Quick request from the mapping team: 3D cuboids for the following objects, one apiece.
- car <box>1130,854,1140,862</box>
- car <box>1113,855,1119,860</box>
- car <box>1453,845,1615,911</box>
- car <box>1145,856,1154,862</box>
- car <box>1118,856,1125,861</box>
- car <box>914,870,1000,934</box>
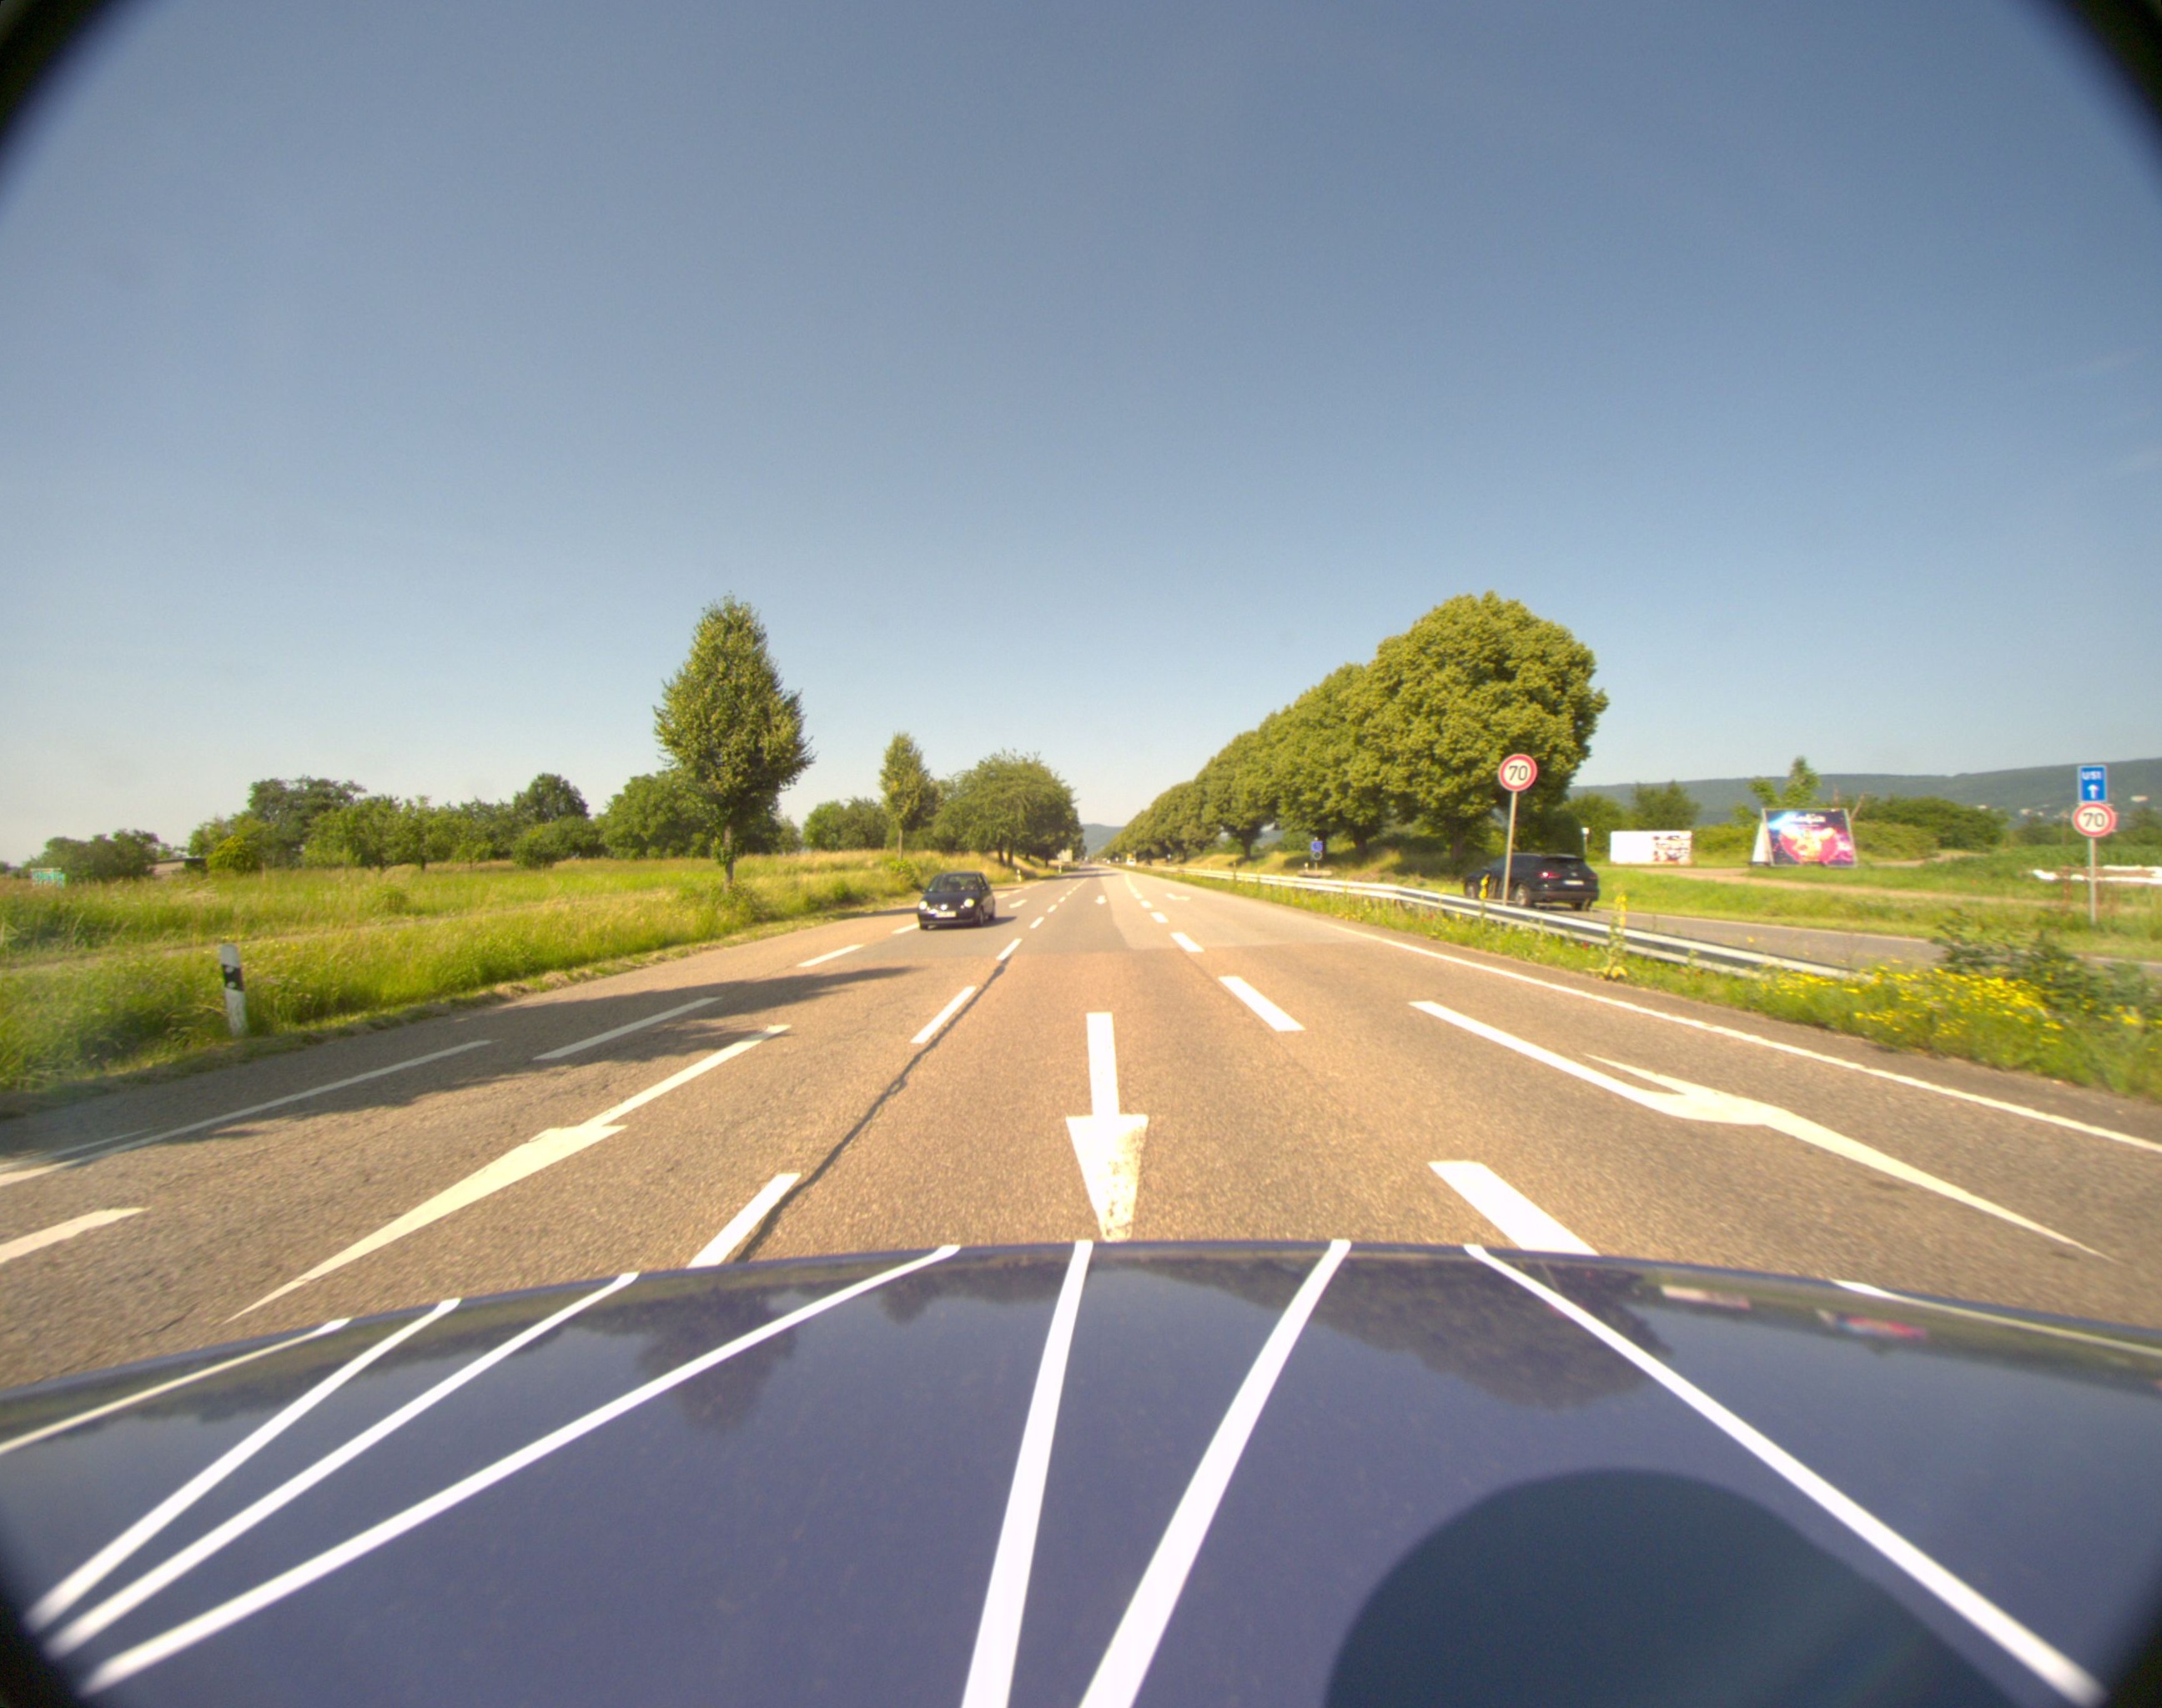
[{"bbox_3d":[11.488,0.825,161.608,1.998,1.791,4.000,-1,0,2],"label":"car"},{"bbox_3d":[12.384,1.211,266.250,1.933,1.521,4.000,-1,0,2],"label":"car"},{"bbox_3d":[13.904,0.698,23.759,1.999,1.829,4.953,1,0,-1],"label":"car"},{"bbox_3d":[14.817,1.095,165.209,1.726,1.456,3.700,0,0,1],"label":"car"},{"bbox_3d":[11.630,1.285,218.298,1.933,1.521,4.000,-1,0,-1],"label":"car"},{"bbox_3d":[-3.244,1.216,20.467,1.629,1.425,3.622,-2,0,0],"label":"car"}]
